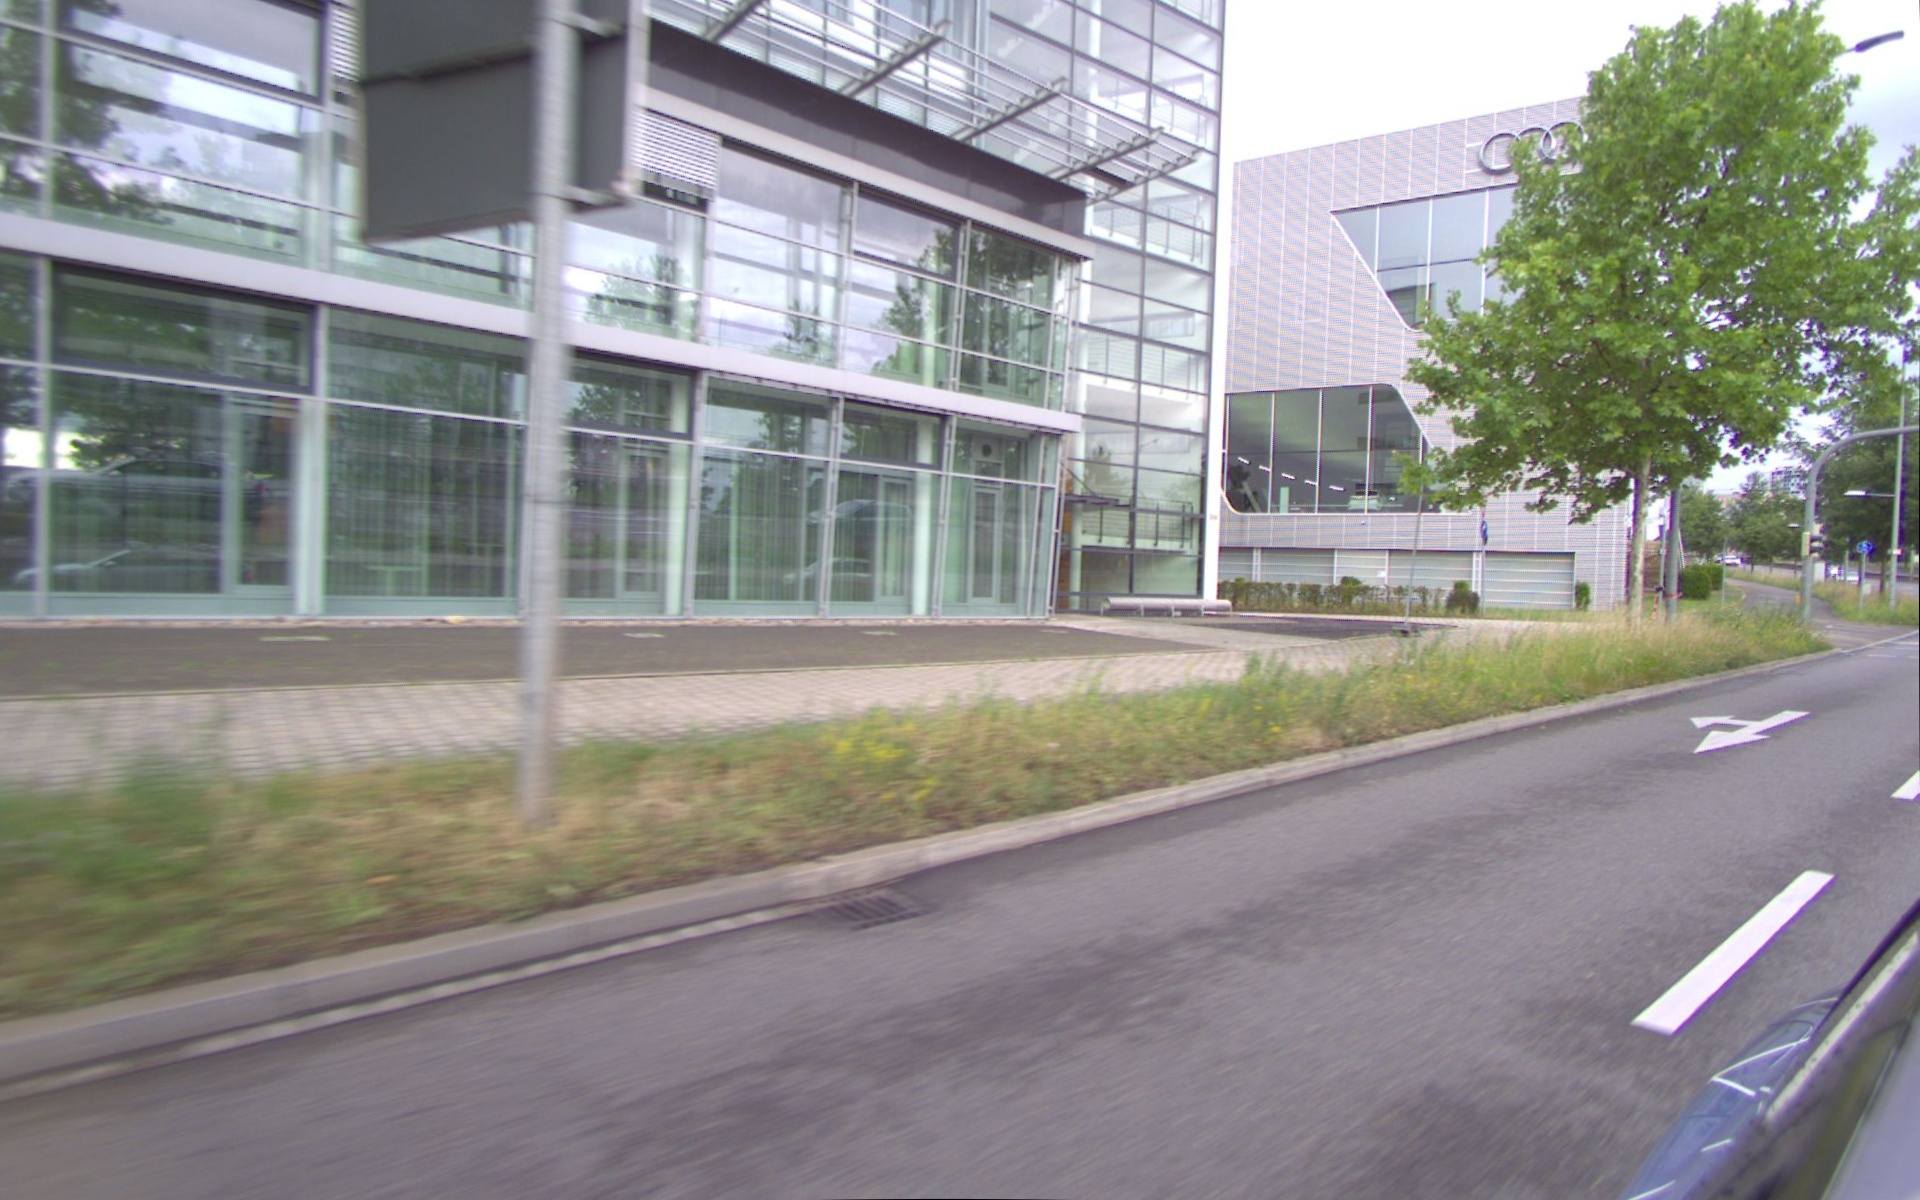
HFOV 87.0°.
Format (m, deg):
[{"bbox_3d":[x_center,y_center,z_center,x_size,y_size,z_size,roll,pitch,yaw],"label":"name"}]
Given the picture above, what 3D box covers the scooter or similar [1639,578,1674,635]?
[{"bbox_3d":[16.609,0.135,24.127,0.457,1.278,1.317,5,5,41],"label":"scooter or similar"}]
